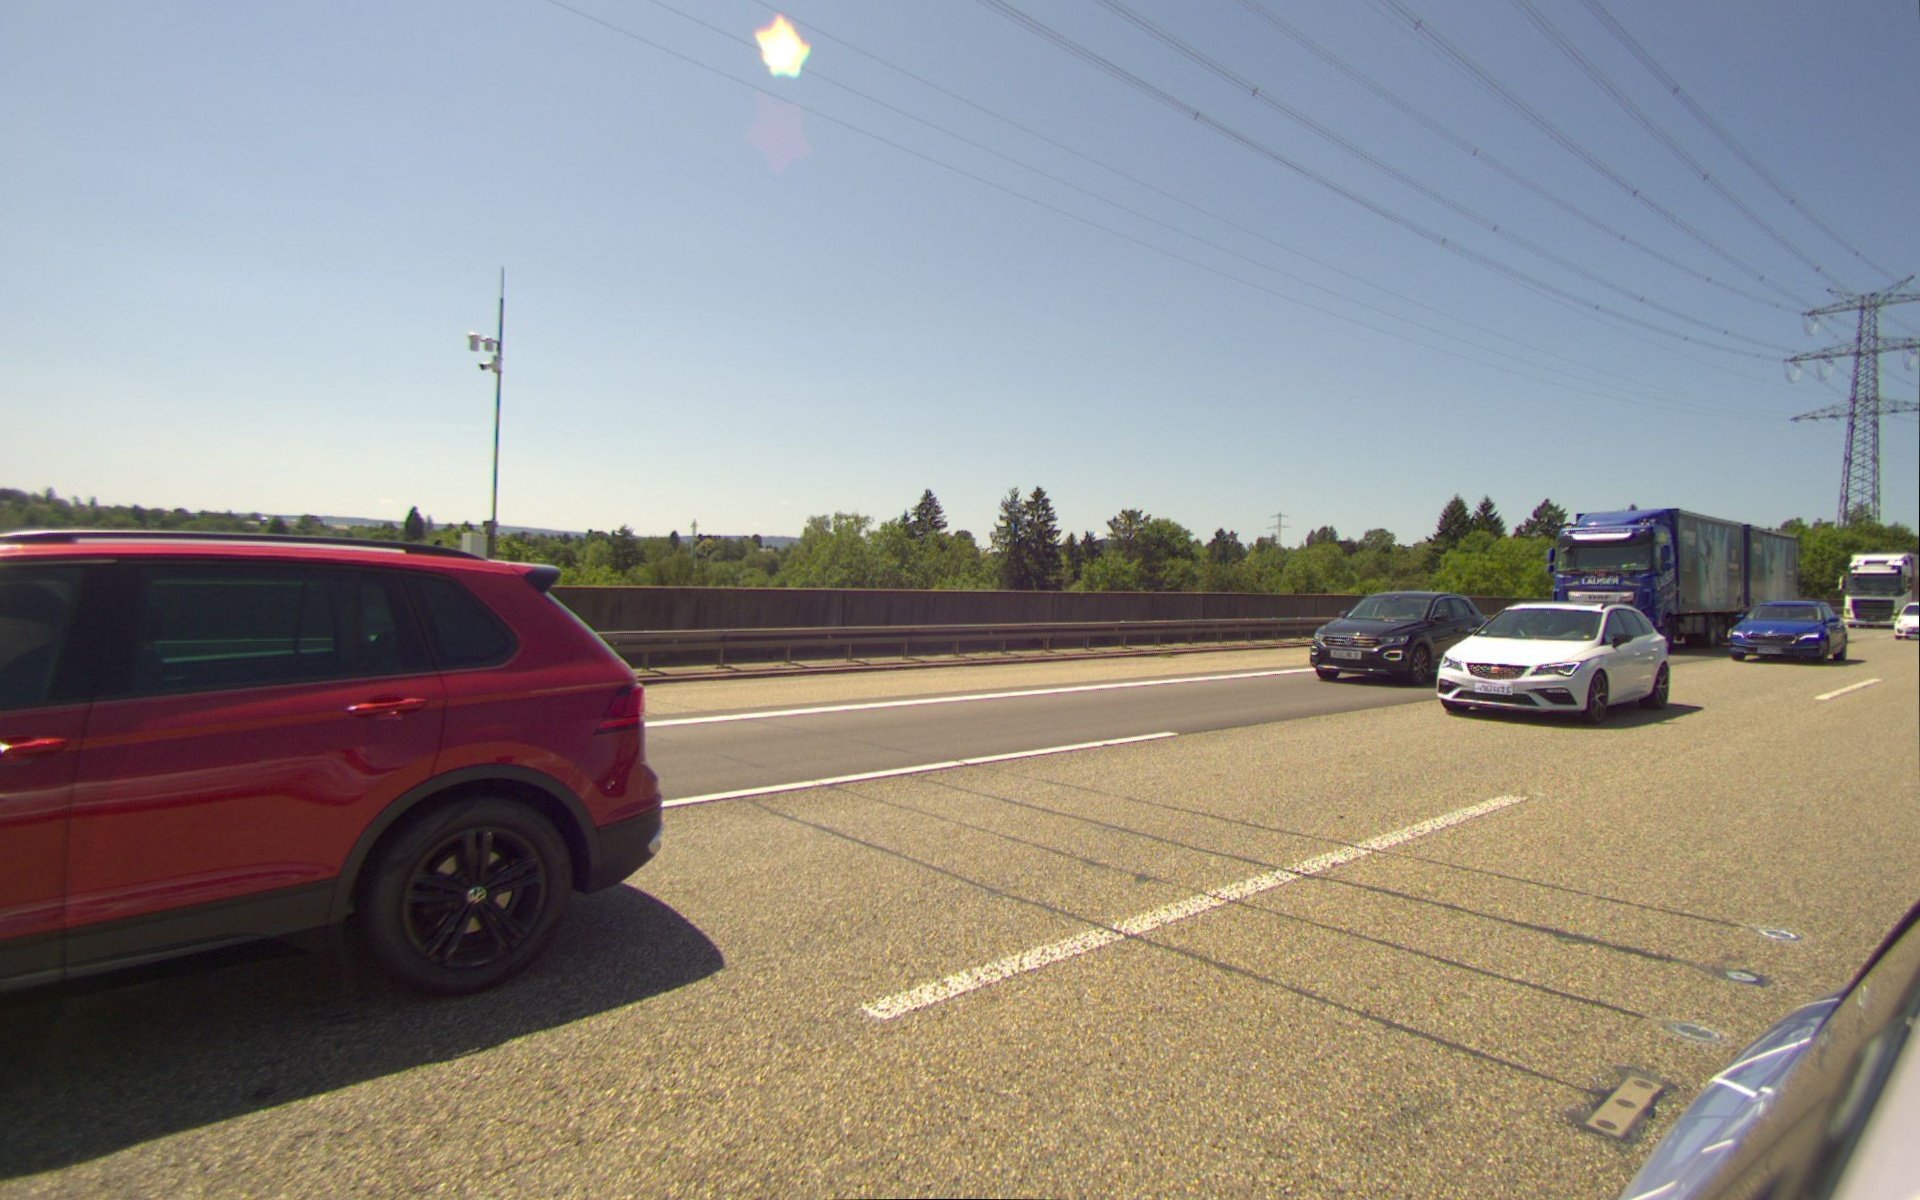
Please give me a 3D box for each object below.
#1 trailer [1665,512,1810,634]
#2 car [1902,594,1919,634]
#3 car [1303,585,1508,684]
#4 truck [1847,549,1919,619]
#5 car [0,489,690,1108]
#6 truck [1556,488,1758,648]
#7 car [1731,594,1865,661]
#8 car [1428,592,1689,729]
[{"bbox_3d":[28.267,-0.942,36.618,8.332,3.994,2.570,-1,1,-41],"label":"trailer"},{"bbox_3d":[38.561,0.547,39.874,4.024,1.522,1.761,0,1,-42],"label":"car"},{"bbox_3d":[7.867,0.520,17.735,4.034,1.546,1.739,0,0,-41],"label":"car"},{"bbox_3d":[52.822,-0.862,56.935,10.776,3.604,2.982,0,0,-41],"label":"truck"},{"bbox_3d":[-3.229,0.526,3.384,4.151,1.683,1.778,0,1,-41],"label":"car"},{"bbox_3d":[21.249,-0.898,30.488,10.265,4.117,2.527,-1,1,-41],"label":"truck"},{"bbox_3d":[20.113,0.596,24.235,4.135,1.463,1.739,0,1,-40],"label":"car"},{"bbox_3d":[7.850,0.648,13.135,4.003,1.508,1.841,0,0,-42],"label":"car"}]
